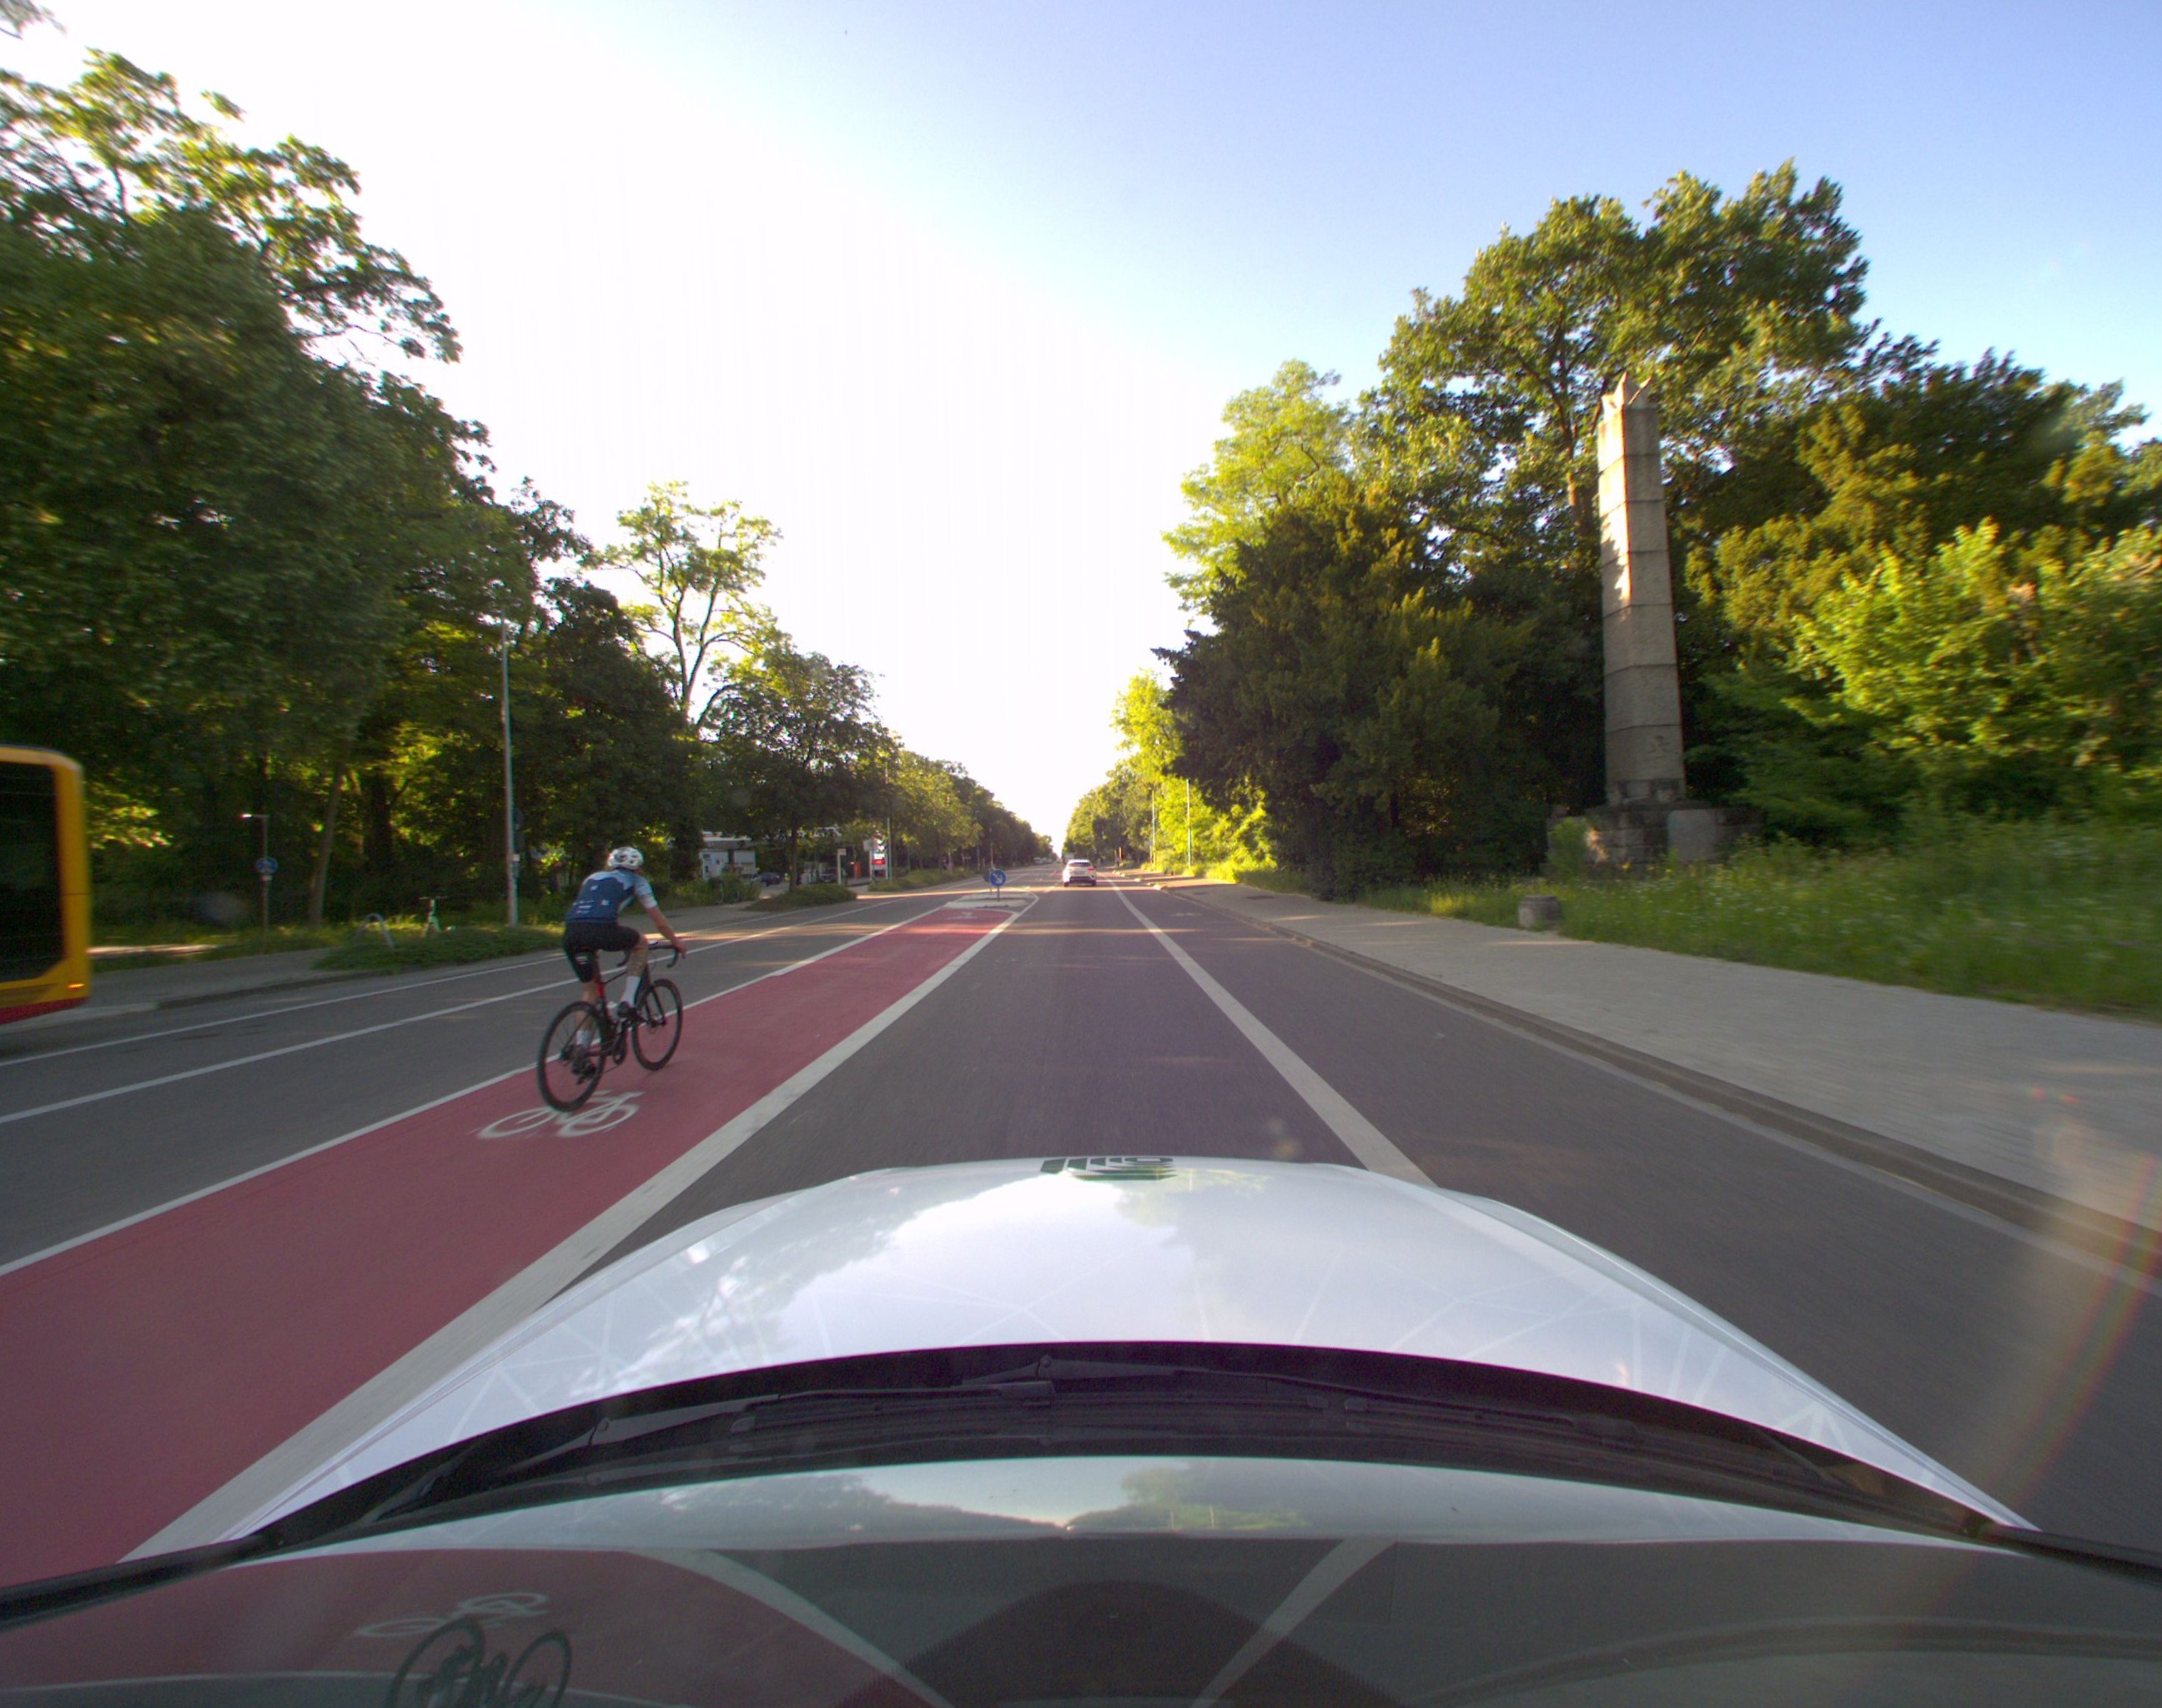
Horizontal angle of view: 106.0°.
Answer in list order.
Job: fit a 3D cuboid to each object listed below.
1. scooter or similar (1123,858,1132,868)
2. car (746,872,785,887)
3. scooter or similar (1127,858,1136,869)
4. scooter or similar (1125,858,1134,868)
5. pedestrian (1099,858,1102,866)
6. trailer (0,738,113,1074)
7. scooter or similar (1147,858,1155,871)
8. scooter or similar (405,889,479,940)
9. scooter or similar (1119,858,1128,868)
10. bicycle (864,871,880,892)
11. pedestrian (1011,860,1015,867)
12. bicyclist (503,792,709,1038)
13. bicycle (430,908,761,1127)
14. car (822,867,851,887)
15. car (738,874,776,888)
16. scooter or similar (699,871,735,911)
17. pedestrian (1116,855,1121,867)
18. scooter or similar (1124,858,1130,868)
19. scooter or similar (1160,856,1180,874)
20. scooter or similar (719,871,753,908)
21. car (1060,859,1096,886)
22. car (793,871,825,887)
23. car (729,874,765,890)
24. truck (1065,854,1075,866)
[{"bbox_3d":[6.327,1.234,111.428,0.683,1.423,1.672,-2,-1,-16],"label":"scooter or similar"},{"bbox_3d":[-37.807,3.025,97.690,3.982,1.555,1.895,-3,0,-6],"label":"car"},{"bbox_3d":[6.617,1.257,107.267,0.468,1.306,1.469,-2,-1,-23],"label":"scooter or similar"},{"bbox_3d":[6.475,1.212,109.361,0.683,1.423,1.673,-2,-1,-15],"label":"scooter or similar"},{"bbox_3d":[4.139,1.756,173.120,0.696,1.653,0.875,-3,-1,-2],"label":"pedestrian"},{"bbox_3d":[-12.330,0.491,4.380,2.844,3.355,9.365,0,-1,2],"label":"trailer"},{"bbox_3d":[6.867,1.042,79.657,0.531,1.250,1.540,-2,0,-1],"label":"scooter or similar"},{"bbox_3d":[-18.292,1.705,23.366,0.825,1.310,1.570,-3,0,0],"label":"scooter or similar"},{"bbox_3d":[5.898,1.264,113.097,0.683,1.423,1.672,-2,-1,-16],"label":"scooter or similar"},{"bbox_3d":[-13.690,1.787,53.444,0.653,1.250,2.155,-2,0,-6],"label":"bicycle"},{"bbox_3d":[-18.055,2.526,217.093,0.861,2.013,1.268,-3,-1,-2],"label":"pedestrian"},{"bbox_3d":[-3.246,0.393,5.650,0.856,1.567,0.882,-1,0,4],"label":"bicyclist"},{"bbox_3d":[-3.224,1.017,5.759,0.887,1.095,2.139,-3,0,5],"label":"bicycle"},{"bbox_3d":[-23.223,2.162,77.564,1.708,1.691,4.446,-3,0,-5],"label":"car"},{"bbox_3d":[-35.421,2.959,89.203,3.629,1.353,1.707,-3,-1,-16],"label":"car"},{"bbox_3d":[-16.798,1.684,37.624,0.825,1.717,1.740,-3,0,0],"label":"scooter or similar"},{"bbox_3d":[5.385,0.993,116.923,0.752,1.563,0.803,-3,-1,3],"label":"pedestrian"},{"bbox_3d":[6.522,1.240,114.424,0.680,1.423,1.681,-2,0,-1],"label":"scooter or similar"},{"bbox_3d":[6.752,0.836,61.806,1.550,1.250,0.528,-2,-1,-44],"label":"scooter or similar"},{"bbox_3d":[-16.755,1.706,39.567,0.825,1.717,1.740,-3,0,0],"label":"scooter or similar"},{"bbox_3d":[-0.190,1.038,46.122,1.758,1.459,3.811,0,-1,-5],"label":"car"},{"bbox_3d":[-27.393,2.496,82.093,1.706,1.498,4.574,-3,0,-2],"label":"car"},{"bbox_3d":[-31.412,2.611,76.680,1.706,1.376,4.057,-3,0,-2],"label":"car"},{"bbox_3d":[-3.313,1.754,247.021,2.792,3.570,8.027,-1,0,-2],"label":"truck"}]
